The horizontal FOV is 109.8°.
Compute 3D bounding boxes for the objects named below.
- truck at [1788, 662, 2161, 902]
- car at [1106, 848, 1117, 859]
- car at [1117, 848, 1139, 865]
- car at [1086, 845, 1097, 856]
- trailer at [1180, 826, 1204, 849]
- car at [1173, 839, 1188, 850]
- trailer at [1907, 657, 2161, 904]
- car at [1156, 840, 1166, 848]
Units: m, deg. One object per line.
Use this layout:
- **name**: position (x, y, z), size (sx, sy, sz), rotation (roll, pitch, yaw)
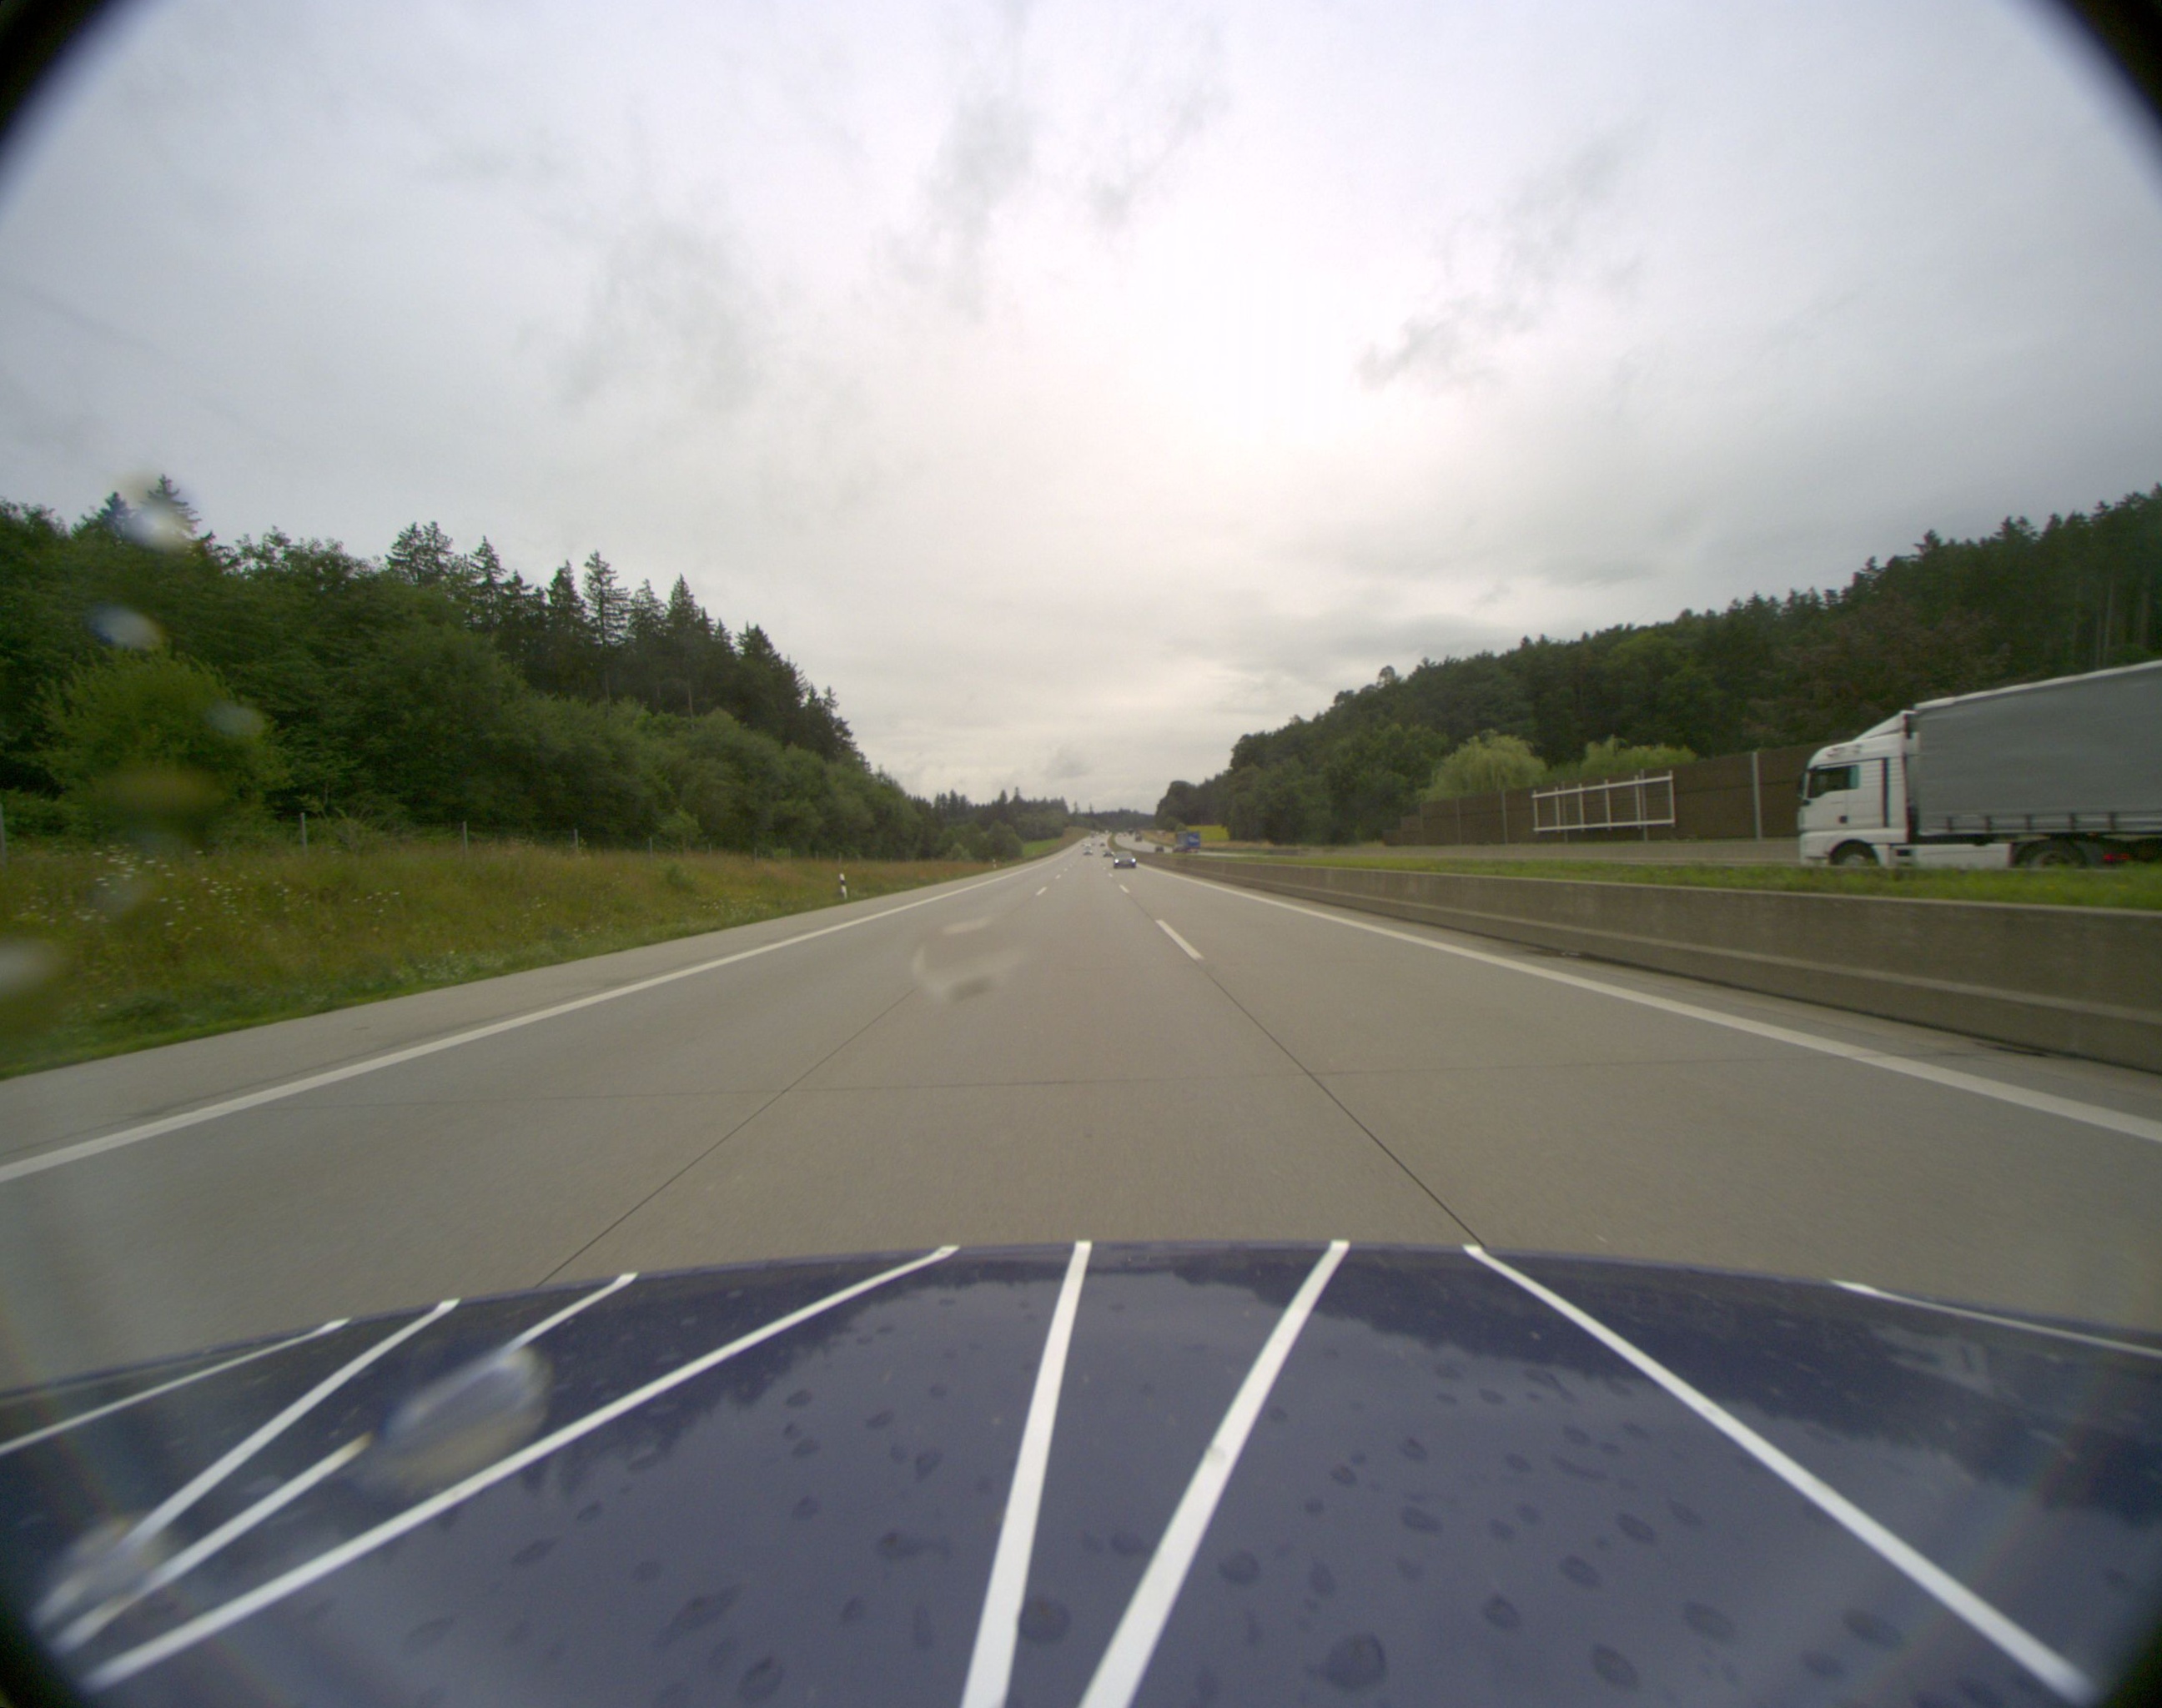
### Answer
- **truck**: position (19.216, -1.306, 16.070), size (2.689, 4.060, 6.216), rotation (-3, 1, 1)
- **car**: position (5.459, -0.141, 136.001), size (1.773, 1.783, 4.000), rotation (-2, 0, 1)
- **car**: position (4.142, 0.219, 67.831), size (1.766, 1.455, 4.000), rotation (-2, 0, 1)
- **car**: position (2.231, -0.758, 160.079), size (2.213, 2.002, 4.833), rotation (-3, 1, 1)
- **trailer**: position (21.654, -3.348, 149.146), size (2.717, 4.185, 13.788), rotation (-3, 2, 1)
- **car**: position (16.896, -1.599, 129.481), size (1.821, 1.757, 4.731), rotation (-3, 1, 0)
- **trailer**: position (19.164, -1.237, 9.364), size (2.704, 4.072, 14.003), rotation (-3, 1, 0)
- **car**: position (17.415, -2.168, 165.451), size (1.641, 1.492, 4.516), rotation (-3, 2, 0)
